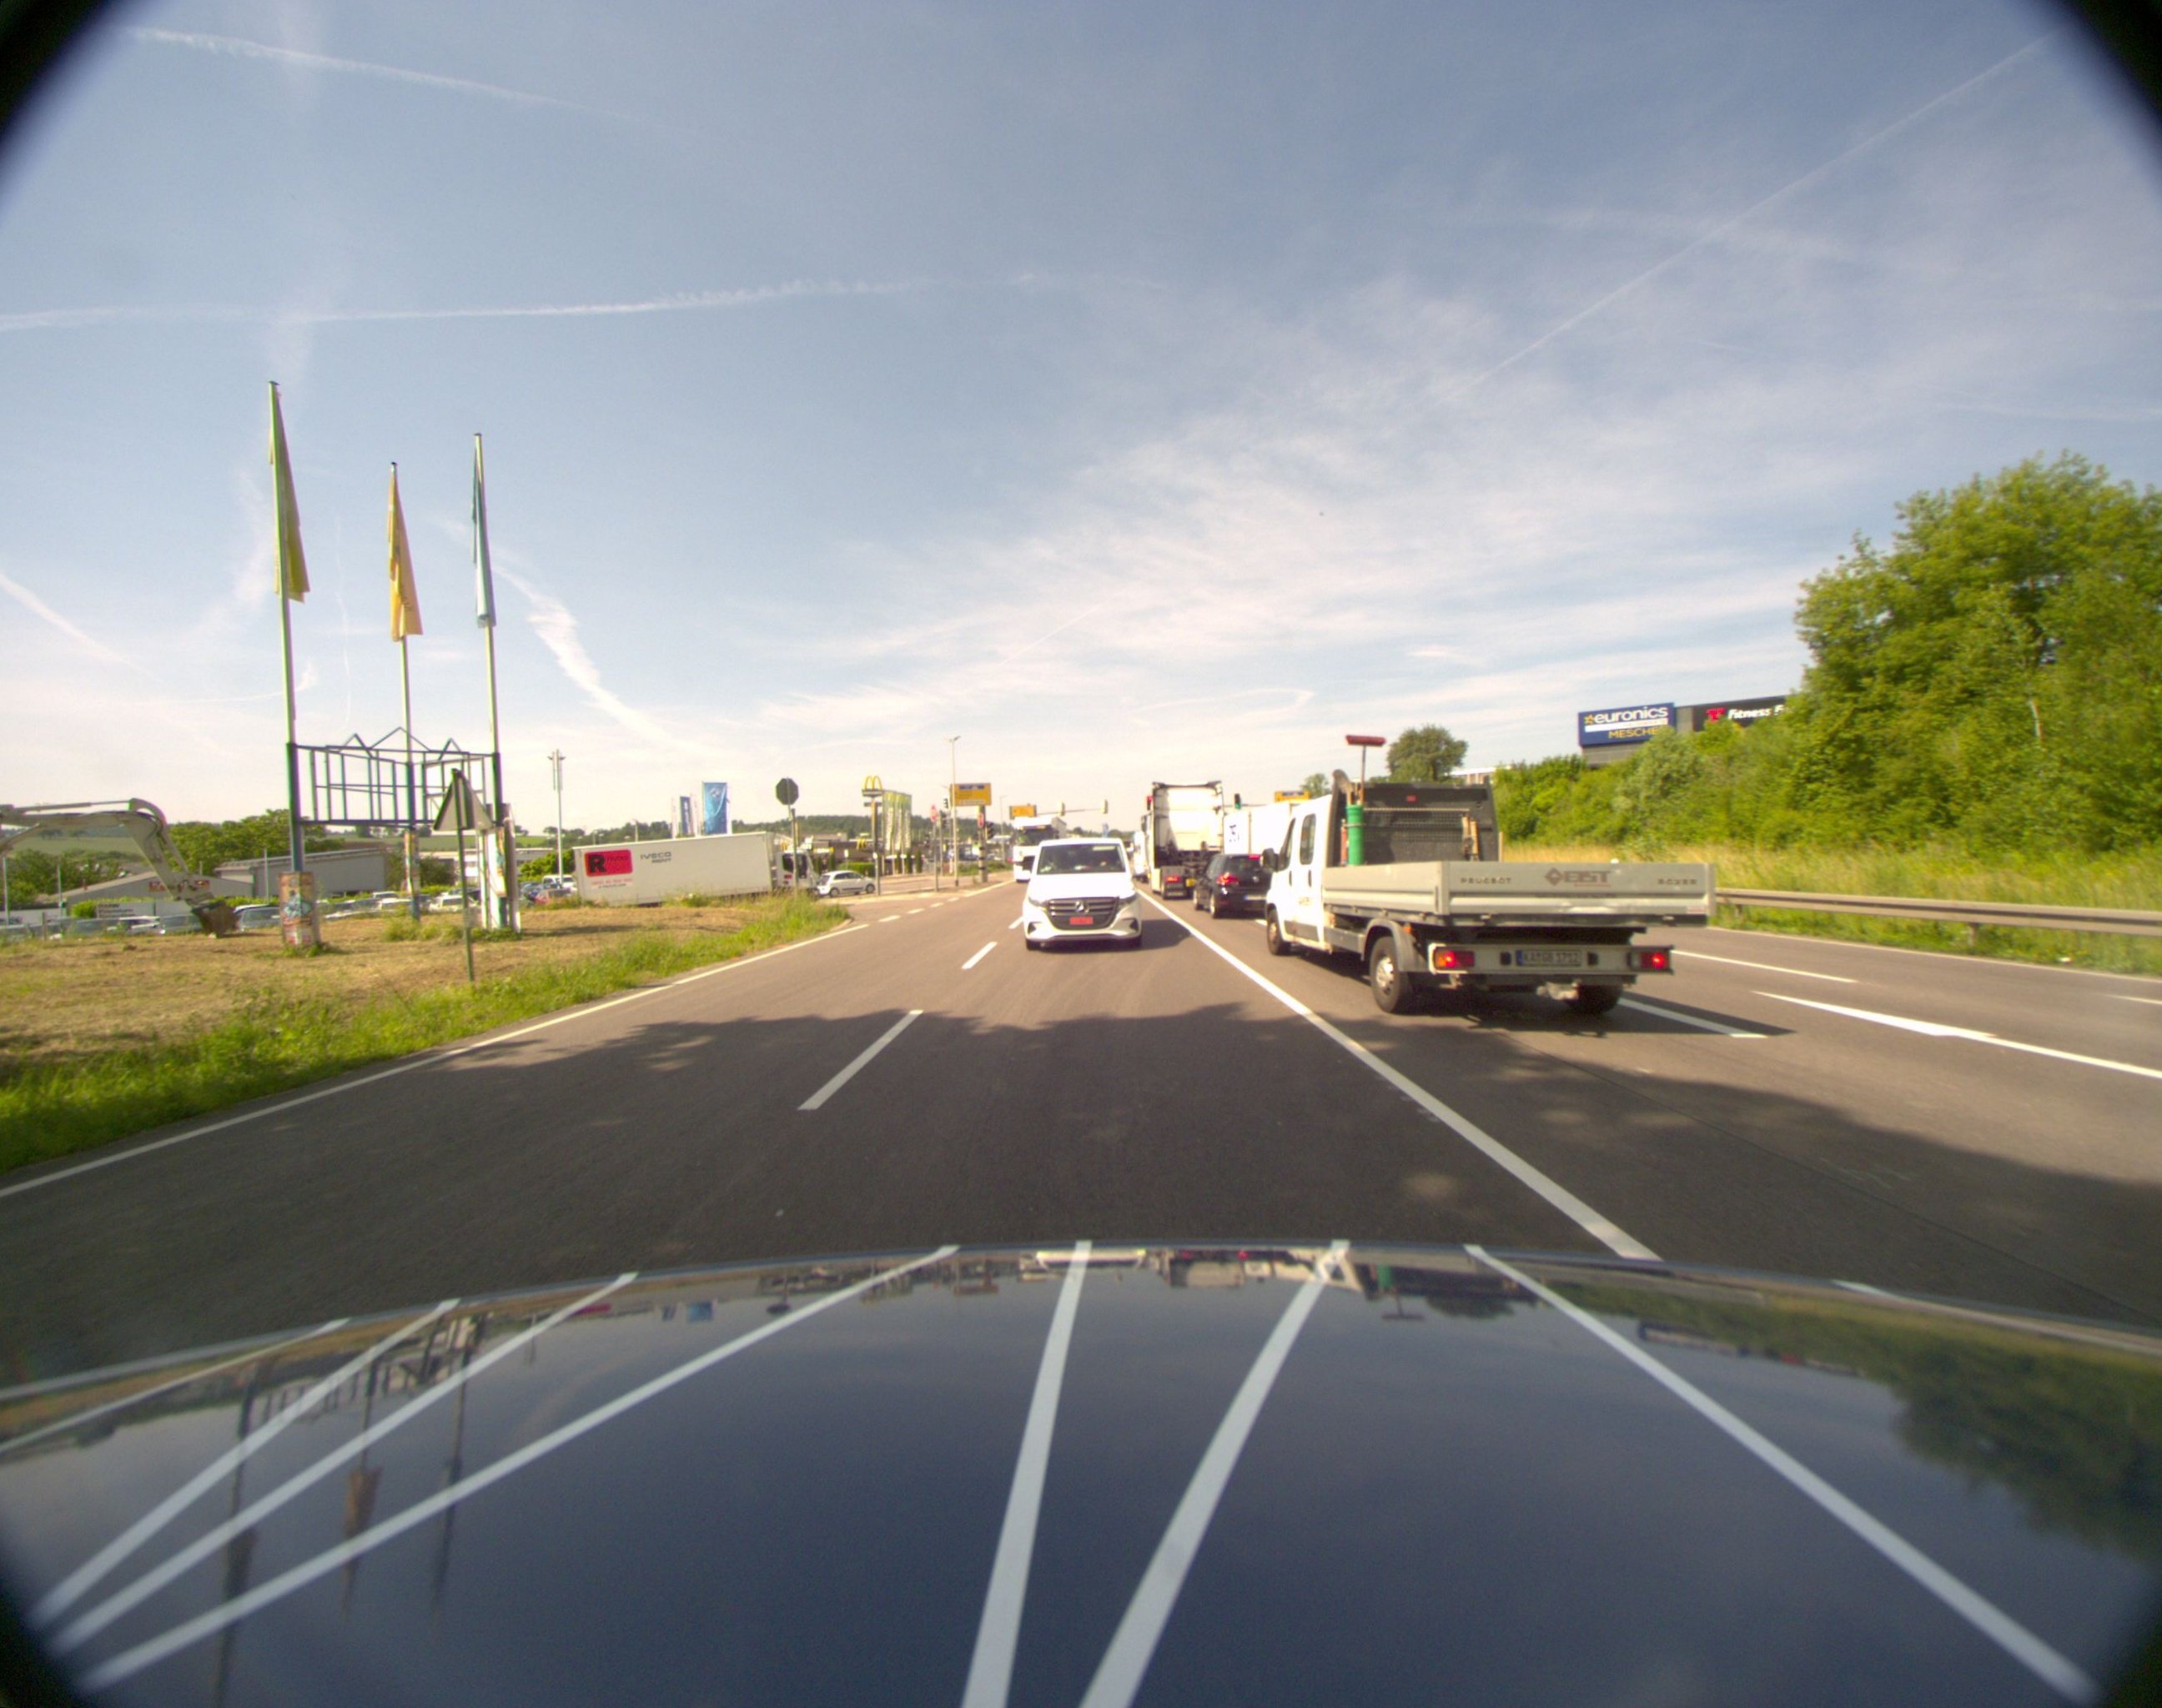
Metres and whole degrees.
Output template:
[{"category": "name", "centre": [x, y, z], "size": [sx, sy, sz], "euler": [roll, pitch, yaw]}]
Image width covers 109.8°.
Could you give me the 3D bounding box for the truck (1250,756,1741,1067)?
[{"category": "truck", "centre": [3.741, 0.394, 8.793], "size": [2.232, 2.254, 6.499], "euler": [-1, 1, 1]}]

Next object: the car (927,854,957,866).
[{"category": "car", "centre": [-20.082, 0.813, 109.747], "size": [1.771, 1.661, 4.178], "euler": [0, 1, 38]}]

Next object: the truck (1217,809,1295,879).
[{"category": "truck", "centre": [11.061, -0.632, 49.064], "size": [2.837, 4.092, 9.680], "euler": [-1, 1, 0]}]

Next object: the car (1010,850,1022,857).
[{"category": "car", "centre": [-14.657, -0.160, 170.976], "size": [1.773, 1.645, 4.540], "euler": [0, 1, 8]}]

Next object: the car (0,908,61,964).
[{"category": "car", "centre": [-45.180, 3.445, 32.272], "size": [4.070, 2.024, 2.073], "euler": [0, 1, 35]}]

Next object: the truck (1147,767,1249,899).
[{"category": "truck", "centre": [3.910, -0.682, 26.698], "size": [2.543, 4.064, 6.264], "euler": [-1, 1, 0]}]

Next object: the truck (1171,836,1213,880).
[{"category": "truck", "centre": [10.751, 0.287, 74.167], "size": [2.736, 3.976, 9.618], "euler": [-1, 1, 0]}]

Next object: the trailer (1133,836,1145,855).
[{"category": "trailer", "centre": [13.101, -1.951, 172.218], "size": [2.697, 4.124, 13.881], "euler": [0, 1, 4]}]

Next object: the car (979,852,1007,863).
[{"category": "car", "centre": [-14.289, 0.595, 123.145], "size": [4.031, 1.661, 1.772], "euler": [-1, 1, -28]}]

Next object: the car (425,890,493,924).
[{"category": "car", "centre": [-35.878, 3.021, 43.813], "size": [4.466, 1.608, 2.004], "euler": [0, 1, 37]}]

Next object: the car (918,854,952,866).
[{"category": "car", "centre": [-21.431, 0.804, 111.644], "size": [1.907, 1.661, 4.828], "euler": [0, 1, 38]}]

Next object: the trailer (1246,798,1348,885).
[{"category": "trailer", "centre": [11.039, -0.636, 39.851], "size": [2.847, 4.046, 8.754], "euler": [-1, 1, 0]}]

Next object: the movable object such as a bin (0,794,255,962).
[{"category": "movable object such as a bin", "centre": [-21.684, 0.463, 15.192], "size": [2.892, 3.189, 6.718], "euler": [0, 1, 38]}]

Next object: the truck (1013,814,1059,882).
[{"category": "truck", "centre": [-2.716, -0.393, 47.269], "size": [2.648, 3.964, 6.039], "euler": [-1, 1, -2]}]

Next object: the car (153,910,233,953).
[{"category": "car", "centre": [-42.020, 3.595, 35.939], "size": [3.988, 1.608, 2.096], "euler": [0, 1, 35]}]

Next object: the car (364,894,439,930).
[{"category": "car", "centre": [-37.410, 3.148, 41.822], "size": [4.461, 1.608, 2.096], "euler": [0, 1, 35]}]

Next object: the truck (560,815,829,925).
[{"category": "truck", "centre": [-16.294, 0.570, 32.947], "size": [9.705, 3.608, 2.763], "euler": [-6, 2, -15]}]

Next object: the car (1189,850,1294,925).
[{"category": "car", "centre": [3.722, 0.705, 18.266], "size": [1.715, 1.542, 4.108], "euler": [-1, 1, 1]}]

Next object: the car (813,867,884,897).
[{"category": "car", "centre": [-14.304, 1.695, 46.907], "size": [1.706, 1.496, 3.762], "euler": [-2, 2, 41]}]

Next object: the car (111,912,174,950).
[{"category": "car", "centre": [-49.820, 4.034, 40.337], "size": [4.069, 1.608, 2.013], "euler": [0, 1, 38]}]

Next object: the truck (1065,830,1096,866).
[{"category": "truck", "centre": [0.035, -0.735, 90.627], "size": [2.646, 3.964, 9.242], "euler": [0, 1, 7]}]

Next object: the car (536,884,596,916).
[{"category": "car", "centre": [-32.293, 2.822, 47.614], "size": [3.988, 1.718, 2.004], "euler": [0, 1, 39]}]

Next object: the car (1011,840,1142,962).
[{"category": "car", "centre": [0.071, 0.691, 14.544], "size": [1.993, 1.858, 5.804], "euler": [0, 1, 3]}]

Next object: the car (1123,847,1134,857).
[{"category": "car", "centre": [8.410, -0.354, 135.305], "size": [1.998, 1.716, 4.000], "euler": [0, 1, 3]}]

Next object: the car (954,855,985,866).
[{"category": "car", "centre": [-15.784, 0.915, 107.590], "size": [1.855, 1.567, 4.242], "euler": [0, 1, 38]}]

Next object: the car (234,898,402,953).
[{"category": "car", "centre": [-28.960, 2.651, 28.993], "size": [1.994, 1.452, 4.328], "euler": [0, 3, 44]}]

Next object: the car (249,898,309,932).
[{"category": "car", "centre": [-46.690, 3.494, 44.213], "size": [4.069, 1.608, 2.013], "euler": [0, 1, 38]}]

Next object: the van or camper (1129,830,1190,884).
[{"category": "van or camper", "centre": [3.995, 0.108, 40.128], "size": [2.336, 2.585, 6.976], "euler": [-1, 1, -1]}]
